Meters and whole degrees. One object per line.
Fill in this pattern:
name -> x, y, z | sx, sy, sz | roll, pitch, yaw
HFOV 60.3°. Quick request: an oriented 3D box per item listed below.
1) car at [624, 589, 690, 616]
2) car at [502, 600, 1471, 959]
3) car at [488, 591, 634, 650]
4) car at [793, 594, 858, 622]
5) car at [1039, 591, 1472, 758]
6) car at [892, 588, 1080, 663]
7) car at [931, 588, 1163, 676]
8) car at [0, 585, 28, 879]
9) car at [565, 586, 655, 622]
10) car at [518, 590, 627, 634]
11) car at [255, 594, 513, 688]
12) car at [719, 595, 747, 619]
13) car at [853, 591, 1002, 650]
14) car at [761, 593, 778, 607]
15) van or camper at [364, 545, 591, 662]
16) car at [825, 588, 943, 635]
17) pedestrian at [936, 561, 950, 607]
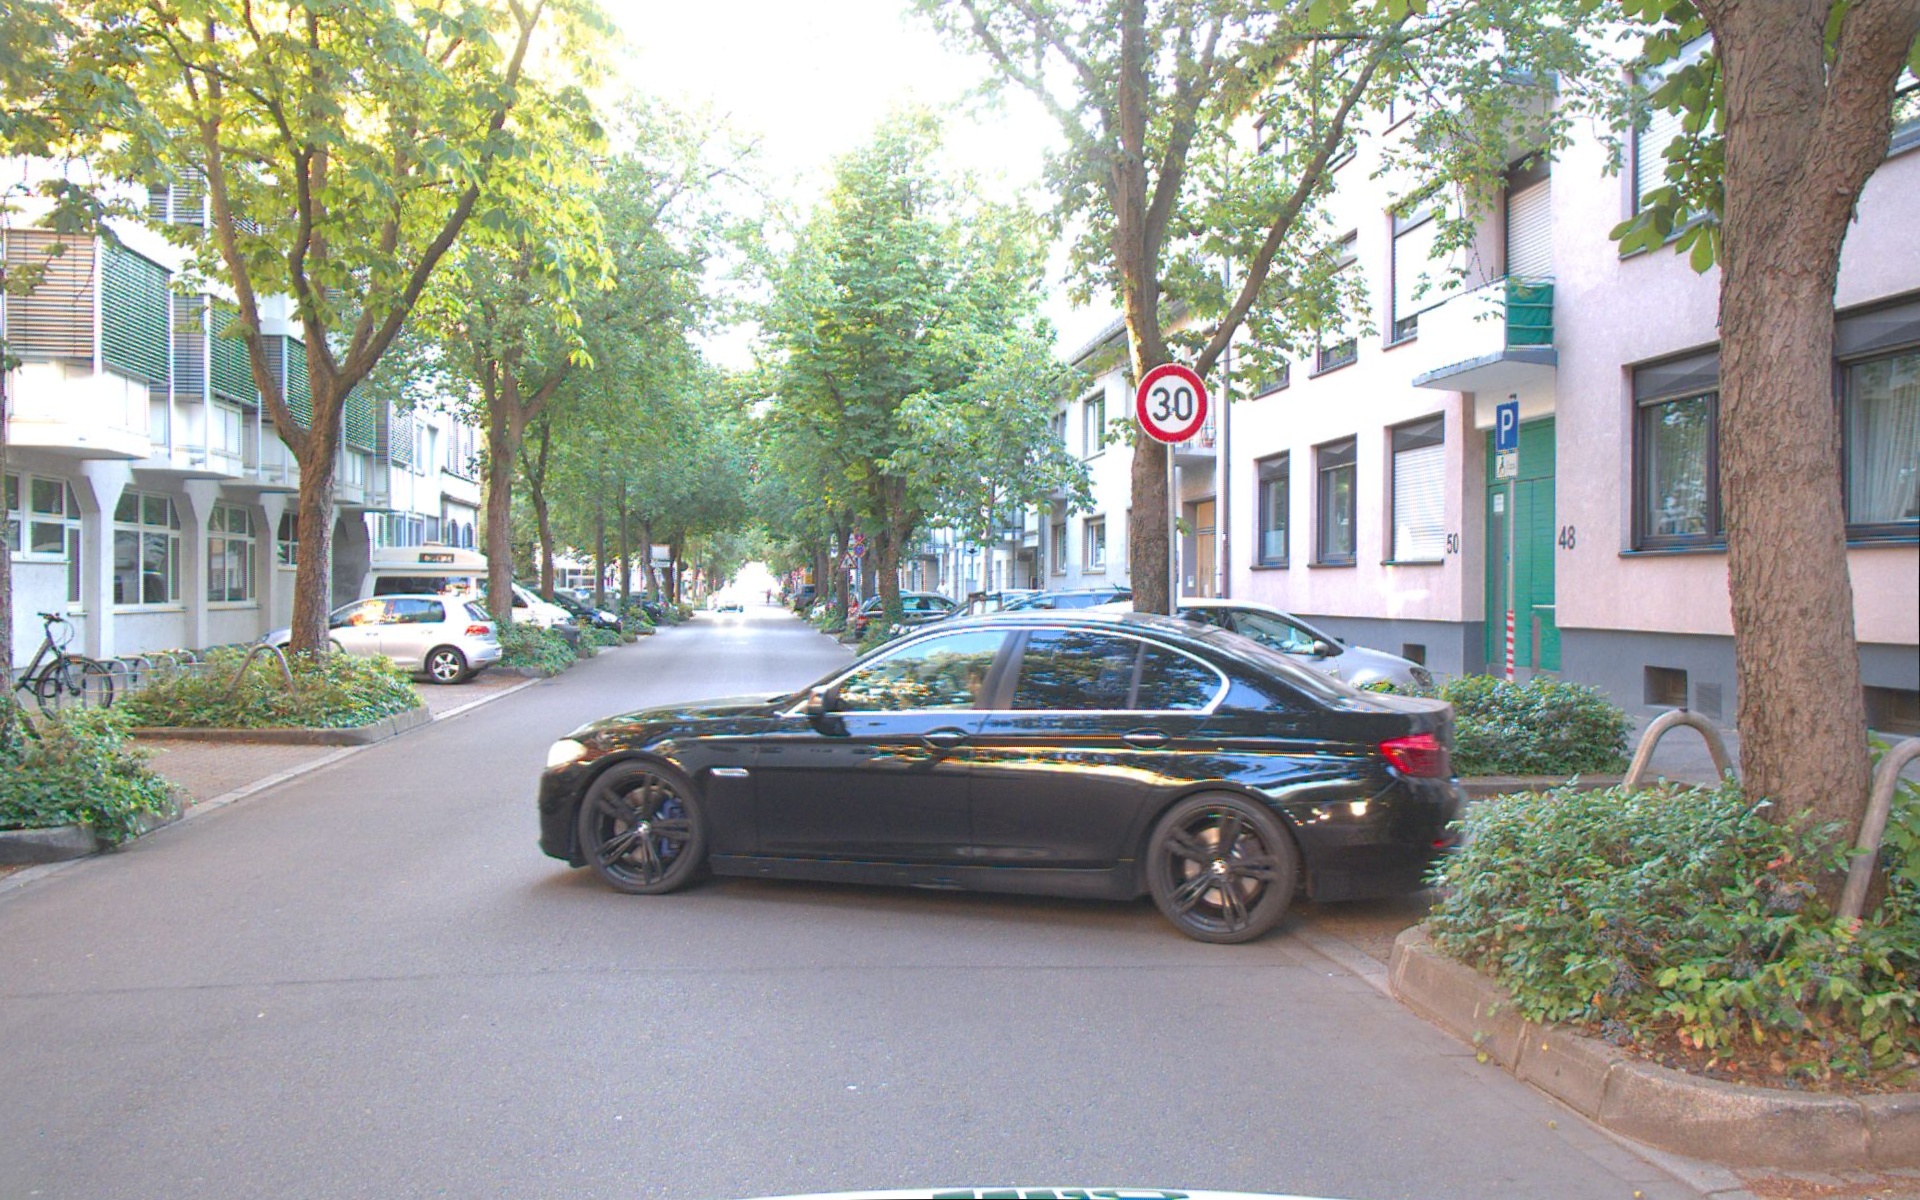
car -> -18.712, 0.138, 102.337 | 3.891, 1.647, 1.783 | 0, 0, -6
car -> 0.182, 0.757, 8.504 | 4.645, 1.506, 1.801 | 0, 0, 17
car -> -11.495, 0.570, 47.857 | 3.892, 1.647, 1.783 | 0, 0, -6
car -> -8.172, 0.479, 100.642 | 3.891, 1.713, 1.783 | 0, 0, -6
car -> 2.807, 0.670, 16.107 | 3.836, 1.502, 1.661 | 0, 0, -9
car -> 0.539, 0.532, 36.148 | 3.893, 1.554, 1.782 | 0, 0, -8
car -> 1.525, 0.542, 29.700 | 3.894, 1.502, 1.781 | 0, 0, -9
car -> -7.107, 0.708, 7.866 | 4.272, 1.544, 1.782 | 0, 0, -7
car -> -16.034, 0.170, 75.904 | 3.891, 1.647, 1.783 | 0, 0, -6
car -> -15.017, 0.448, 64.271 | 3.891, 1.647, 1.783 | 0, 0, -6
car -> -9.866, 0.678, 28.577 | 3.892, 1.544, 1.783 | 0, 0, -6
car -> -15.535, 0.448, 113.373 | 1.745, 1.589, 4.162 | 0, 0, -6
car -> -0.912, 0.542, 44.937 | 3.893, 1.554, 1.782 | 0, 0, -8
car -> -20.740, -0.008, 180.429 | 1.787, 1.557, 3.995 | -1, 0, -6
van or camper -> -10.676, 0.060, 36.880 | 4.575, 2.521, 1.997 | 0, 0, -7
car -> -2.633, 0.371, 56.777 | 3.894, 1.554, 1.782 | 0, 0, -9
pedestrian -> -0.757, -0.718, 74.408 | 0.577, 2.049, 0.669 | 0, 0, -6
